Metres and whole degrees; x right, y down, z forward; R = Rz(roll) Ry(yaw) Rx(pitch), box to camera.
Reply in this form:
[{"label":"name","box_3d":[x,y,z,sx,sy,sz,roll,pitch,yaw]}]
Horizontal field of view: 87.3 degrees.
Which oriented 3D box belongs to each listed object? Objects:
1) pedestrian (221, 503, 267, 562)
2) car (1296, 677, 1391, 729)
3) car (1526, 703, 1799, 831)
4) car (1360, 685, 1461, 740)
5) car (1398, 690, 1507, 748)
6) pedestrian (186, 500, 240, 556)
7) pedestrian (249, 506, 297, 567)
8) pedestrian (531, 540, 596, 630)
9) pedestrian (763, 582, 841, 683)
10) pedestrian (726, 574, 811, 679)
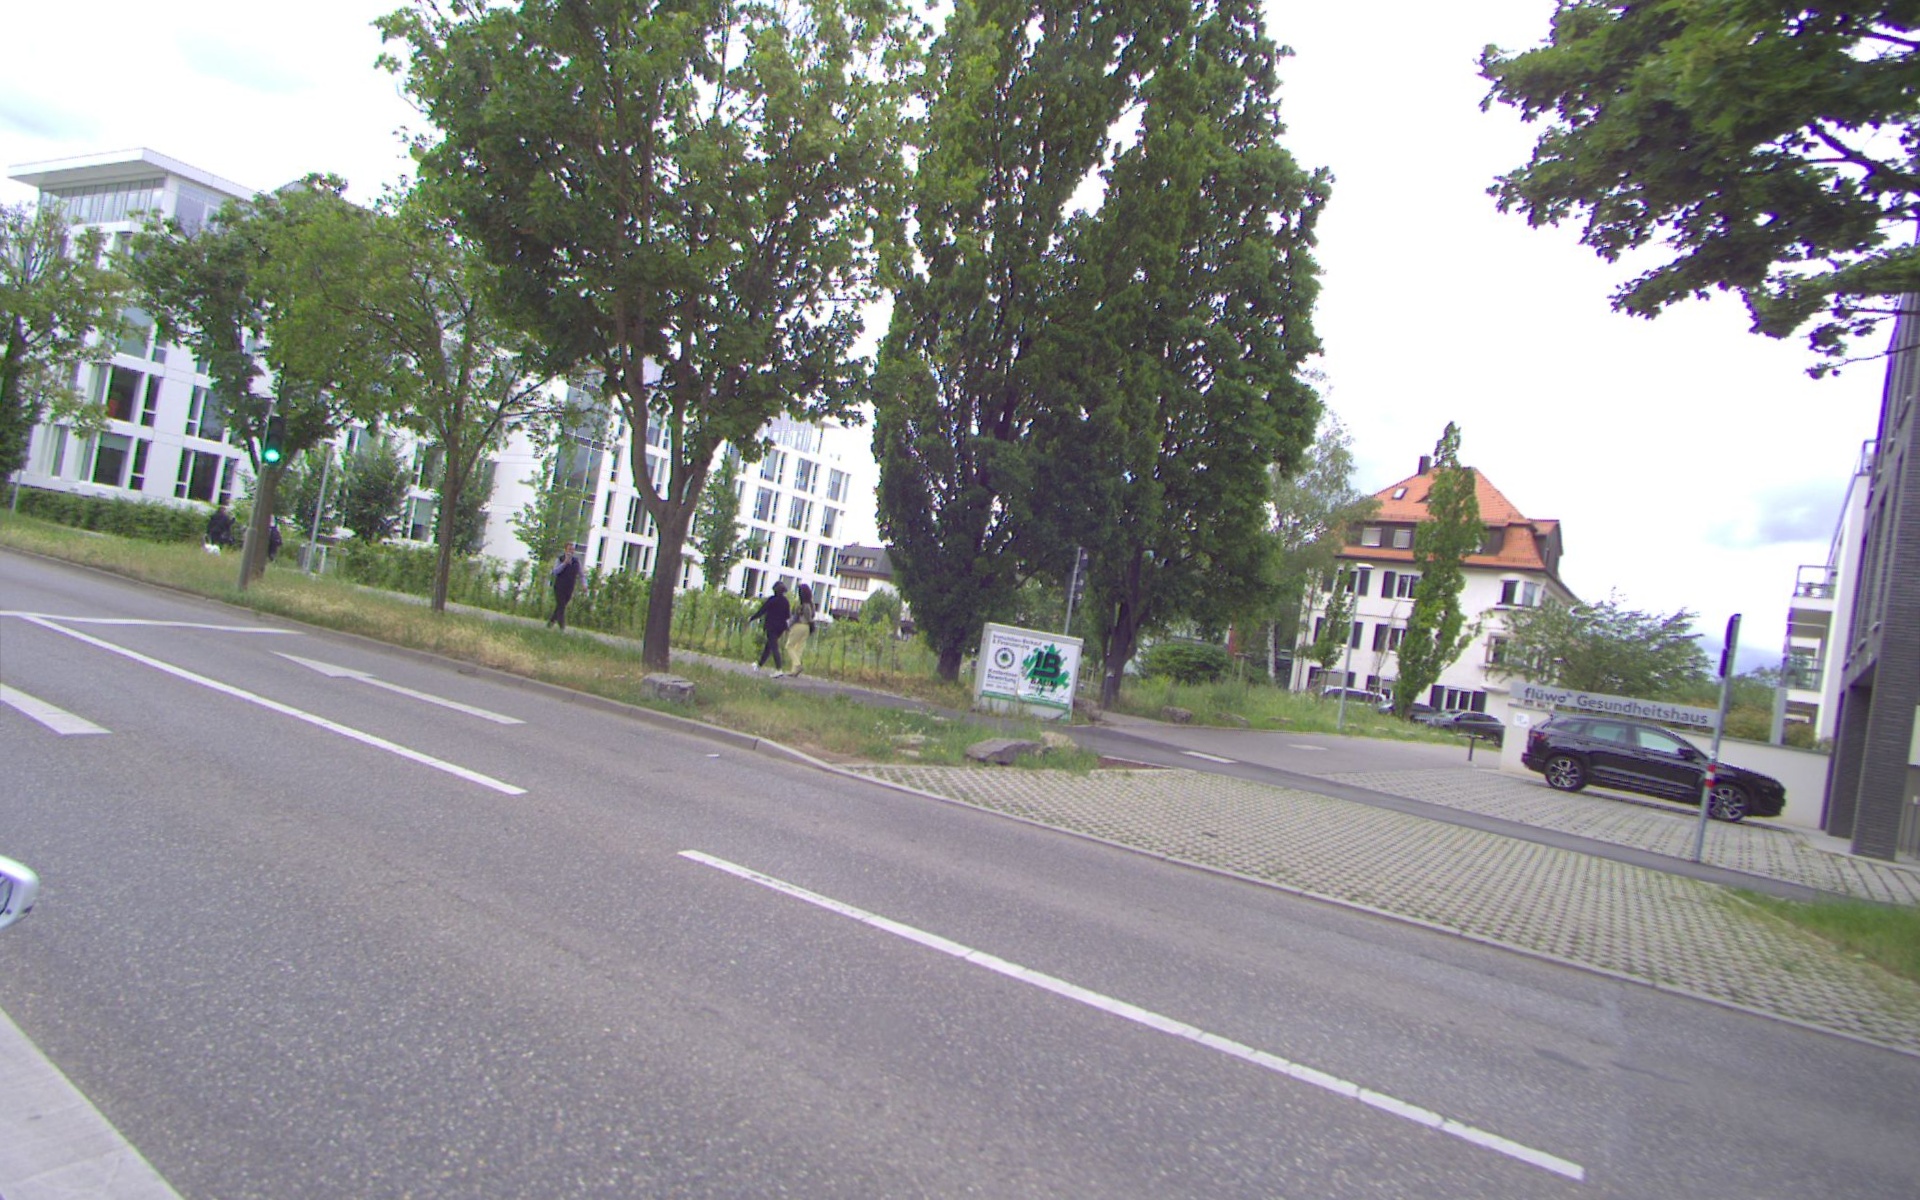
[{"label":"pedestrian","box_3d":[-21.351,-2.008,30.007,0.869,1.614,0.700,7,-1,34]},{"label":"car","box_3d":[20.196,5.417,53.084,4.059,2.037,2.000,8,-1,-5]},{"label":"car","box_3d":[13.640,3.189,19.791,4.083,1.665,1.758,7,-2,35]},{"label":"car","box_3d":[22.809,5.687,51.021,4.059,2.037,2.000,8,-1,-5]},{"label":"car","box_3d":[23.417,5.644,47.913,4.059,2.037,2.000,8,-1,-5]},{"label":"pedestrian","box_3d":[-21.799,-2.096,29.353,1.094,1.465,0.790,6,-1,34]},{"label":"pedestrian","box_3d":[-20.901,-1.921,30.624,0.869,1.705,0.768,7,-1,34]},{"label":"pedestrian","box_3d":[-7.569,-0.274,19.221,0.663,1.592,0.742,7,-1,34]},{"label":"pedestrian","box_3d":[-2.890,0.588,18.408,0.938,1.679,0.778,7,-2,40]},{"label":"pedestrian","box_3d":[-3.397,0.463,17.805,1.044,1.679,0.795,7,-2,41]}]
